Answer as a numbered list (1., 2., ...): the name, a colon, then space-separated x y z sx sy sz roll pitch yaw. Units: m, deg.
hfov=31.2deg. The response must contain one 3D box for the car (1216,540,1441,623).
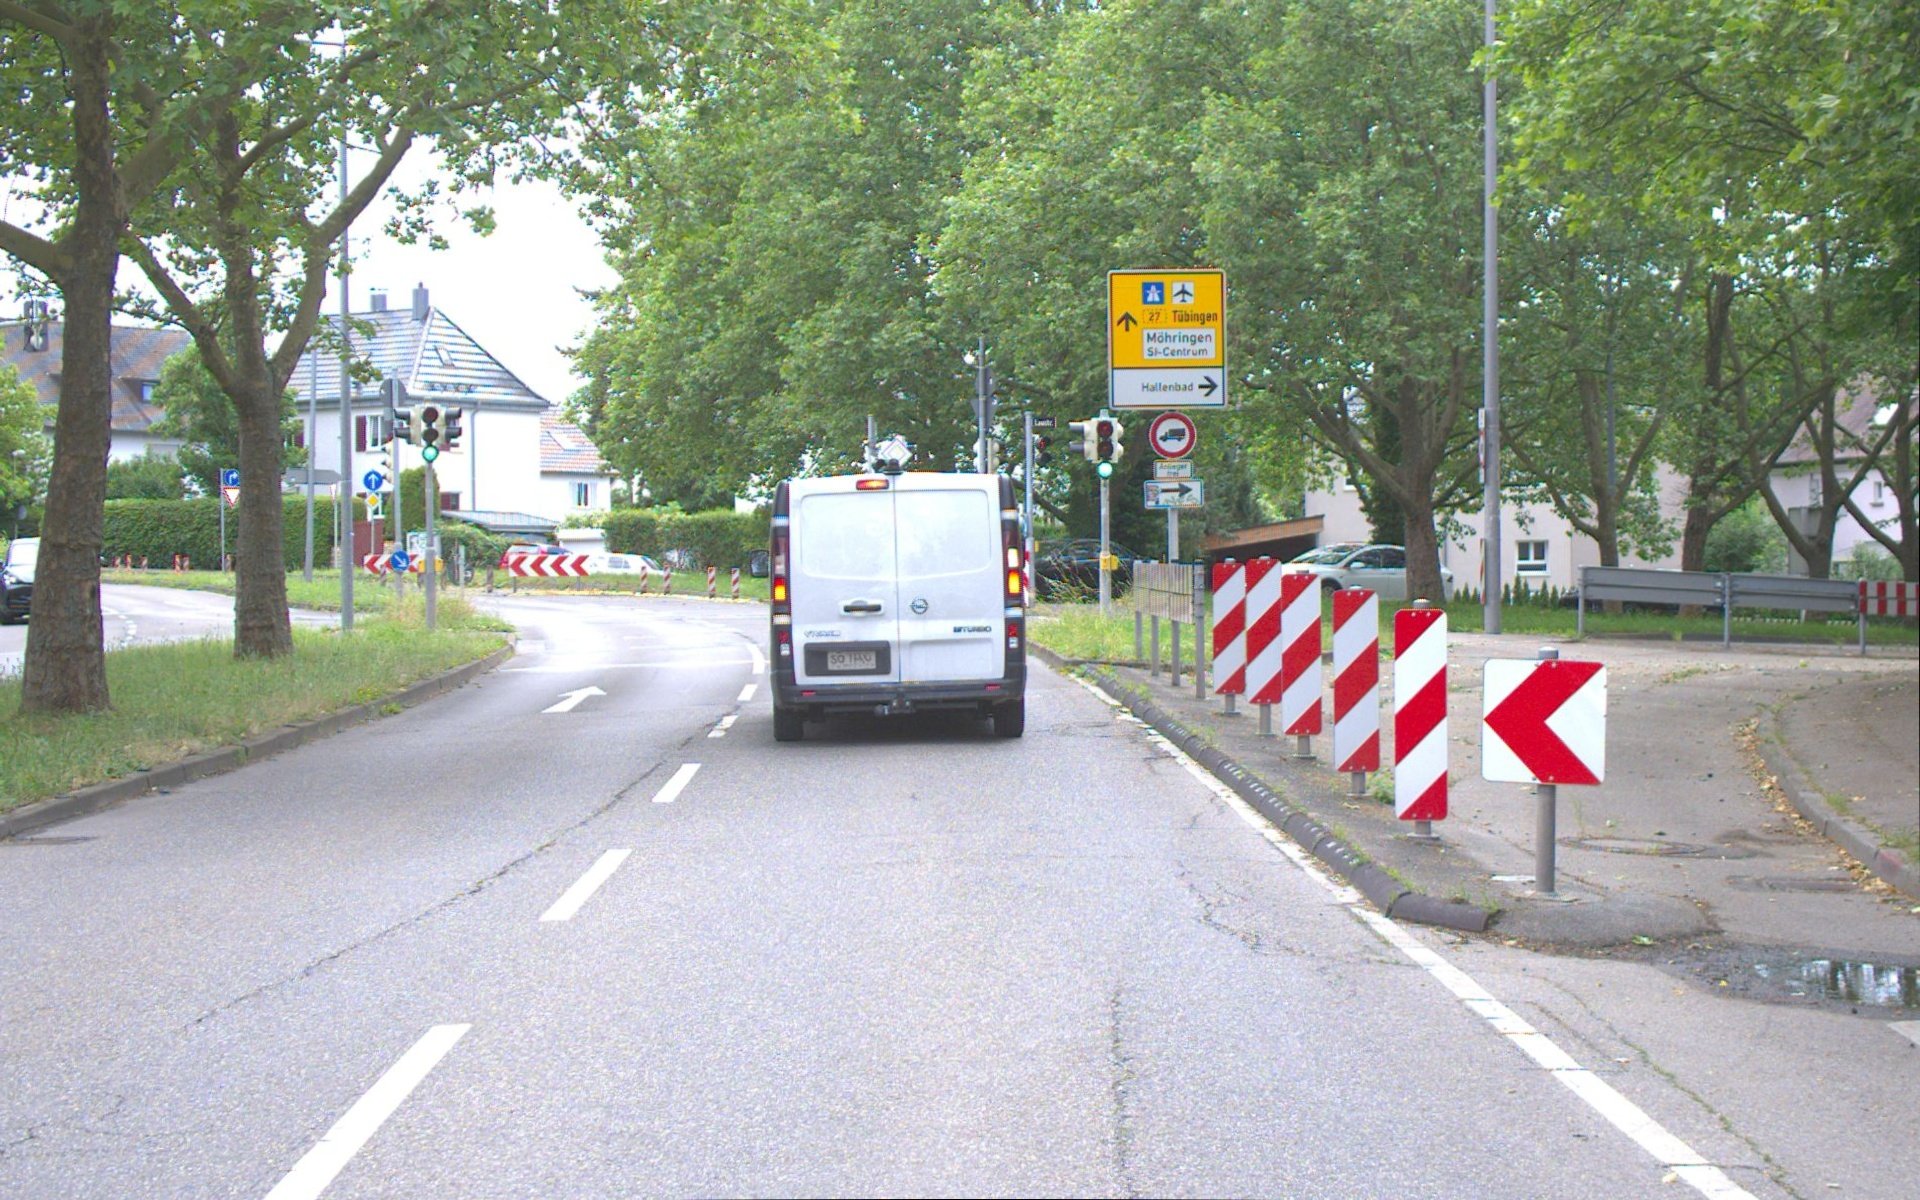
1. car: 8.037 -0.417 74.728 4.730 1.763 2.000 0 1 -36

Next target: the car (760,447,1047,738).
1. car: -0.532 -0.082 26.733 2.006 2.031 5.011 0 1 -3

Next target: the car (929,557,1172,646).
1. car: 1.880 0.010 70.621 4.730 1.763 2.000 0 1 -36

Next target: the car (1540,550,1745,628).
1. car: 15.954 -0.278 80.316 4.730 1.763 2.000 0 1 -36

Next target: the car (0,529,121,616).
1. car: -17.414 -0.513 66.139 1.947 1.619 4.432 0 0 -21

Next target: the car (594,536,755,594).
1. car: -8.879 -1.093 106.862 4.738 1.763 1.996 1 1 33
